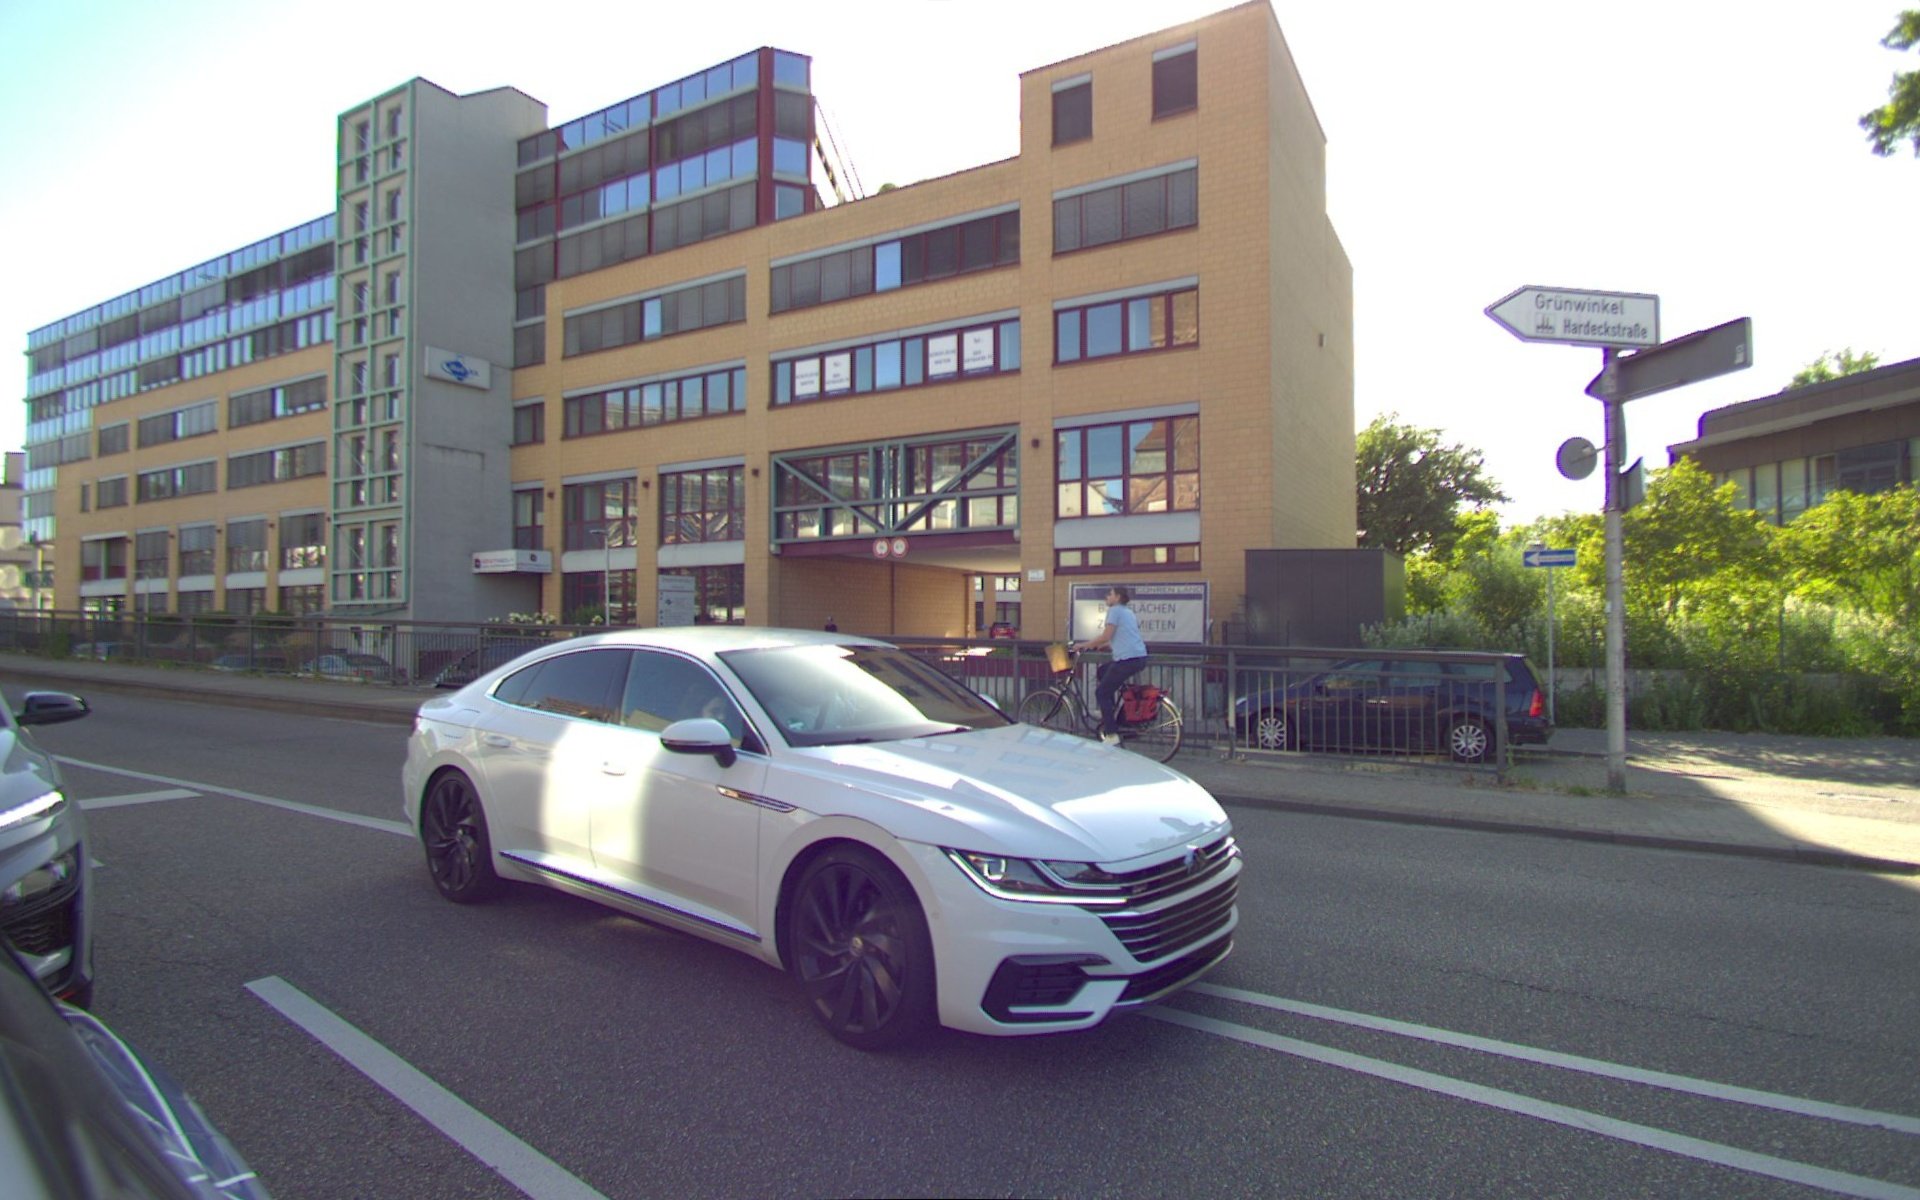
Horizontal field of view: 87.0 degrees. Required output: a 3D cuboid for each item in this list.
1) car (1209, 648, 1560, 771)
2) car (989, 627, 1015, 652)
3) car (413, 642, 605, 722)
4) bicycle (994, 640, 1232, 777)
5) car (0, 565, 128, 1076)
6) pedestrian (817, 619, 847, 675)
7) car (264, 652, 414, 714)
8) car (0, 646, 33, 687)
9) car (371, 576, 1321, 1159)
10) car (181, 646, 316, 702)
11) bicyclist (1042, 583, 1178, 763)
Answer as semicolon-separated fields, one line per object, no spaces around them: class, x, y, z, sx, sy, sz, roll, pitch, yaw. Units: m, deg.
car;6.073;1.468;14.689;4.438;1.515;1.805;-2;-3;33
car;2.767;2.604;66.726;1.621;1.586;3.150;-1;-2;2
car;-11.138;1.932;24.938;4.667;1.771;1.938;-1;-1;29
bicycle;1.509;1.036;10.249;2.320;1.211;0.681;0;-2;33
car;-4.953;0.695;4.076;4.219;1.582;1.825;-1;-1;42
pedestrian;-4.332;1.576;34.174;0.676;1.858;0.779;-2;-3;28
car;-17.725;2.314;28.860;4.340;1.616;1.807;-1;-3;30
car;-41.469;2.793;43.098;3.988;1.674;1.977;-1;-3;33
car;-0.850;0.706;4.811;4.502;1.547;1.827;0;0;38
car;-22.277;2.255;31.651;4.340;1.616;1.807;-1;-3;30
bicyclist;1.515;0.704;10.255;1.194;1.714;0.681;0;-2;33
